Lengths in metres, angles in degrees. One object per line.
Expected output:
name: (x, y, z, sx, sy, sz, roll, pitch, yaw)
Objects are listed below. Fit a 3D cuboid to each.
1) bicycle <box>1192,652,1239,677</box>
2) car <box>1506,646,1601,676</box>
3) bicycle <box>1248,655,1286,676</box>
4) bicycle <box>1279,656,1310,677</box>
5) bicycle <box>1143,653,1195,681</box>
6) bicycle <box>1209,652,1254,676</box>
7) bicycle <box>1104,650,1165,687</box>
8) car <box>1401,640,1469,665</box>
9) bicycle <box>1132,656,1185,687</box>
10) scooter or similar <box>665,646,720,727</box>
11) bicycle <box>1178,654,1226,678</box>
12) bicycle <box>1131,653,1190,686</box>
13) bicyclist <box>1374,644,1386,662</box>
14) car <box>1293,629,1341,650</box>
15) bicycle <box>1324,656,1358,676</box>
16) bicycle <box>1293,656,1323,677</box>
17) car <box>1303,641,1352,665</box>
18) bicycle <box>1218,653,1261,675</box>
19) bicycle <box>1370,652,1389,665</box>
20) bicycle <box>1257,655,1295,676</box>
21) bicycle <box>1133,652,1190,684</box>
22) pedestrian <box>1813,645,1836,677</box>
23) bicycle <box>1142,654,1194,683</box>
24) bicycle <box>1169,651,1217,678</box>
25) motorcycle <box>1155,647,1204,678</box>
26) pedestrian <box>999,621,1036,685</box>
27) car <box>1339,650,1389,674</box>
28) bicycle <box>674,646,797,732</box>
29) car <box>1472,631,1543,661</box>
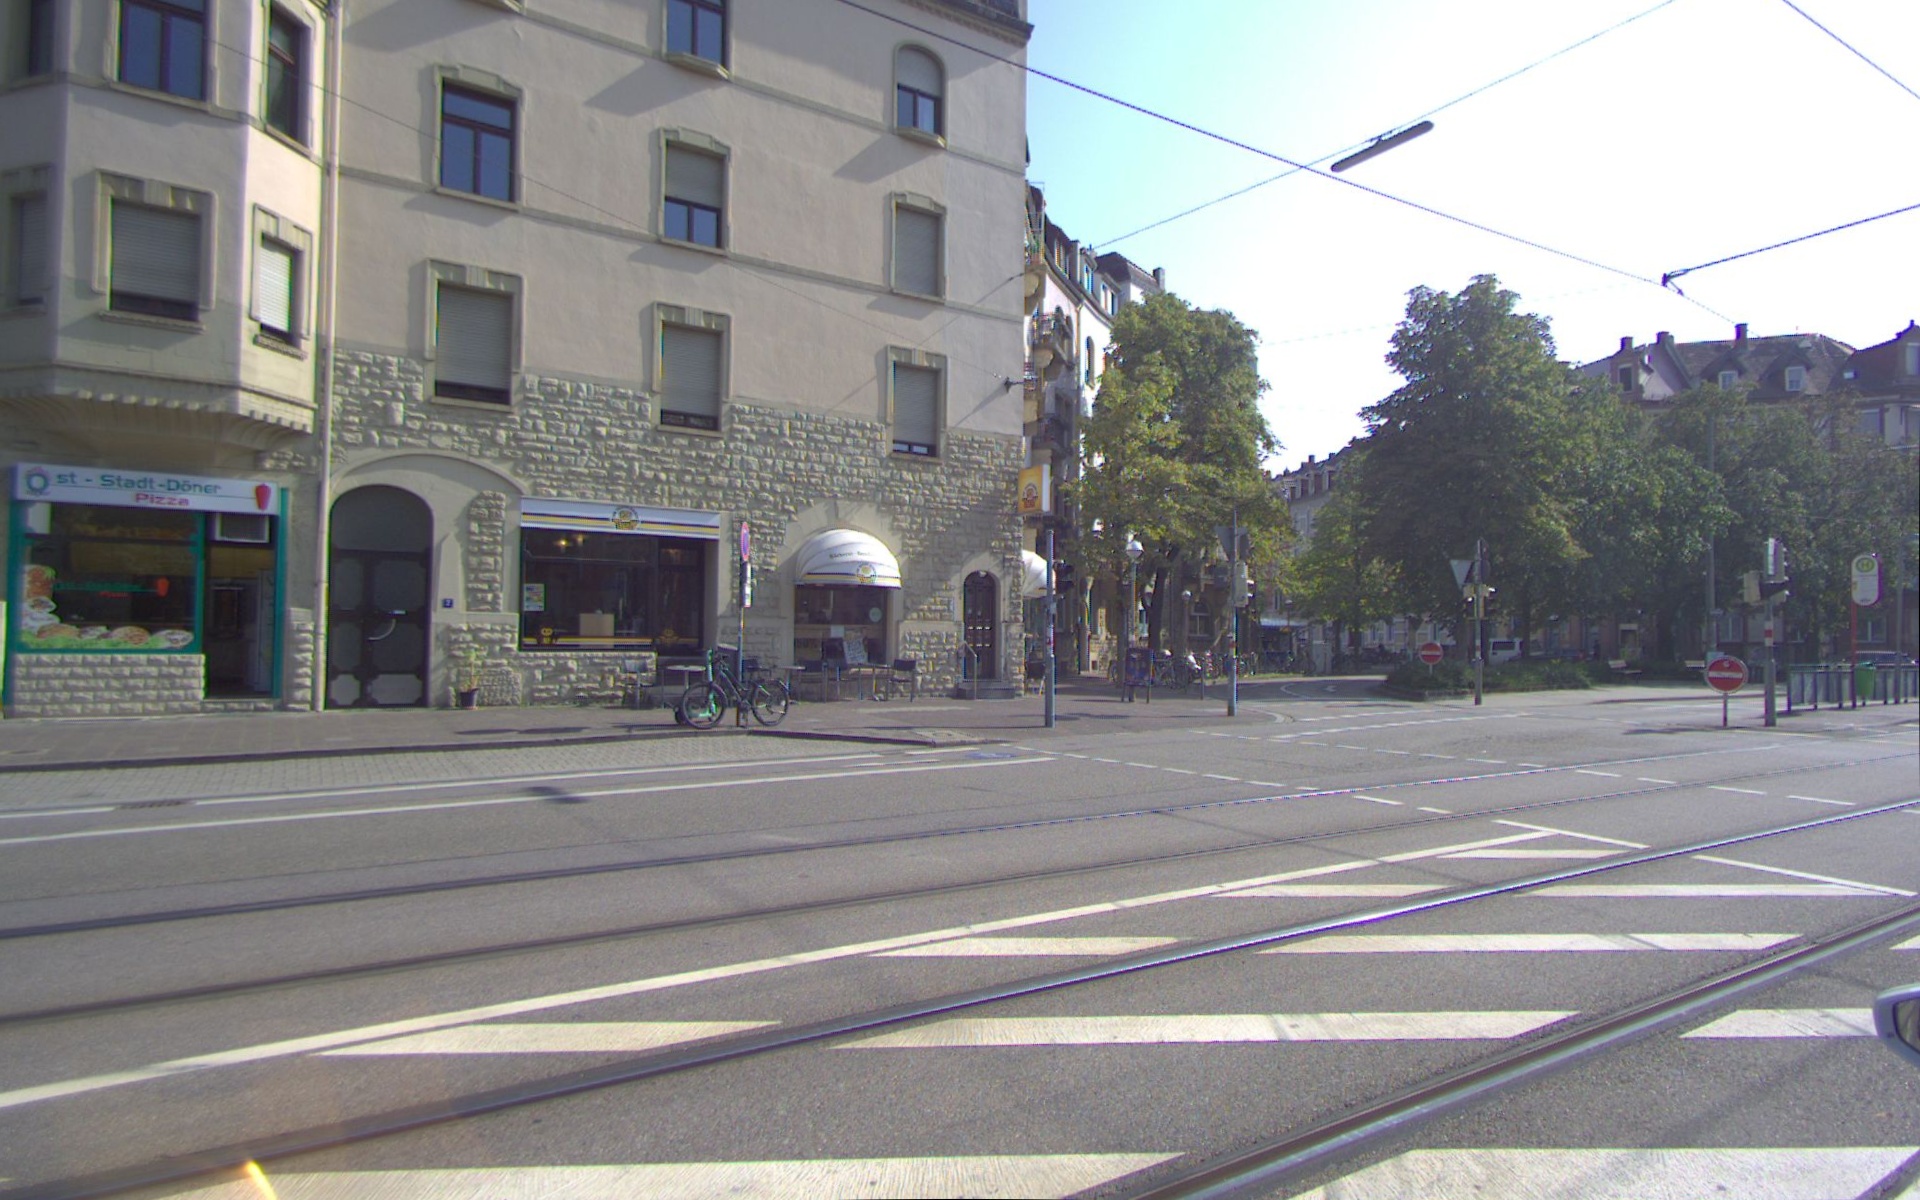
bicycle: (11.133, 2.805, 43.790, 1.865, 0.993, 0.686, 0, -2, 26)
car: (33.723, 3.440, 57.208, 1.973, 1.589, 4.310, 2, -3, -25)
bicycle: (15.294, 3.256, 49.996, 1.742, 0.990, 0.518, -1, -3, 38)
bicycle: (16.443, 3.264, 49.412, 1.750, 0.990, 0.422, 2, -2, -32)
bicycle: (7.716, 2.465, 37.074, 1.769, 0.996, 0.661, 1, -2, 19)
bicycle: (12.104, 2.853, 44.801, 1.865, 0.993, 0.686, 0, -2, 26)
bicycle: (5.622, 2.199, 32.307, 1.845, 1.127, 0.569, 2, -2, -10)
car: (31.494, 3.471, 66.749, 1.964, 1.589, 4.330, 1, -2, -9)
bicycle: (6.251, 2.256, 31.650, 1.577, 0.932, 0.479, 1, -2, -1)
scooter or similar: (-4.181, 1.338, 15.743, 0.359, 1.213, 1.035, 0, -2, 13)
bicycle: (10.255, 2.768, 42.533, 1.876, 0.947, 0.737, 0, -2, 26)
bicycle: (6.586, 2.274, 33.092, 1.840, 1.016, 0.570, 1, -2, 6)
bicyclist: (31.576, 3.981, 75.527, 0.538, 1.345, 0.821, 1, -2, -7)
car: (31.354, 3.468, 88.225, 1.968, 1.852, 3.985, 1, -2, -18)
bicycle: (19.589, 3.391, 51.678, 0.596, 0.990, 1.761, 1, -2, -23)
bicycle: (17.121, 3.279, 49.396, 1.750, 0.990, 0.422, 2, -2, -32)
car: (29.006, 4.180, 79.498, 1.964, 1.852, 3.995, 1, -2, -9)
bicycle: (12.841, 2.930, 46.179, 1.851, 0.947, 0.635, -1, -3, 42)
bicycle: (31.563, 4.395, 75.592, 0.538, 0.970, 1.855, 1, -2, -7)
bicycle: (15.882, 3.277, 50.514, 1.742, 0.990, 0.603, -1, -3, 37)
bicycle: (6.919, 2.330, 34.551, 1.841, 1.047, 0.570, 0, -2, 21)
pedestrian: (48.198, 3.403, 56.000, 0.756, 1.753, 0.752, 0, -2, 21)
bicycle: (7.439, 2.439, 35.892, 1.769, 0.997, 0.570, 1, -2, 19)
bicycle: (9.610, 2.665, 41.432, 1.843, 1.041, 0.663, 0, -2, 26)
motorcycle: (8.880, 2.526, 40.621, 1.839, 1.169, 0.607, 0, -2, 26)
pedestrian: (1.762, 1.624, 30.912, 0.767, 1.918, 0.887, 2, -2, -30)
car: (32.681, 5.009, 81.402, 1.964, 1.852, 3.995, 1, -2, -9)
bicycle: (-3.442, 1.344, 15.524, 1.843, 1.242, 0.449, 2, -3, -41)
car: (35.166, 2.946, 64.643, 1.964, 1.852, 3.995, 1, -2, -9)
